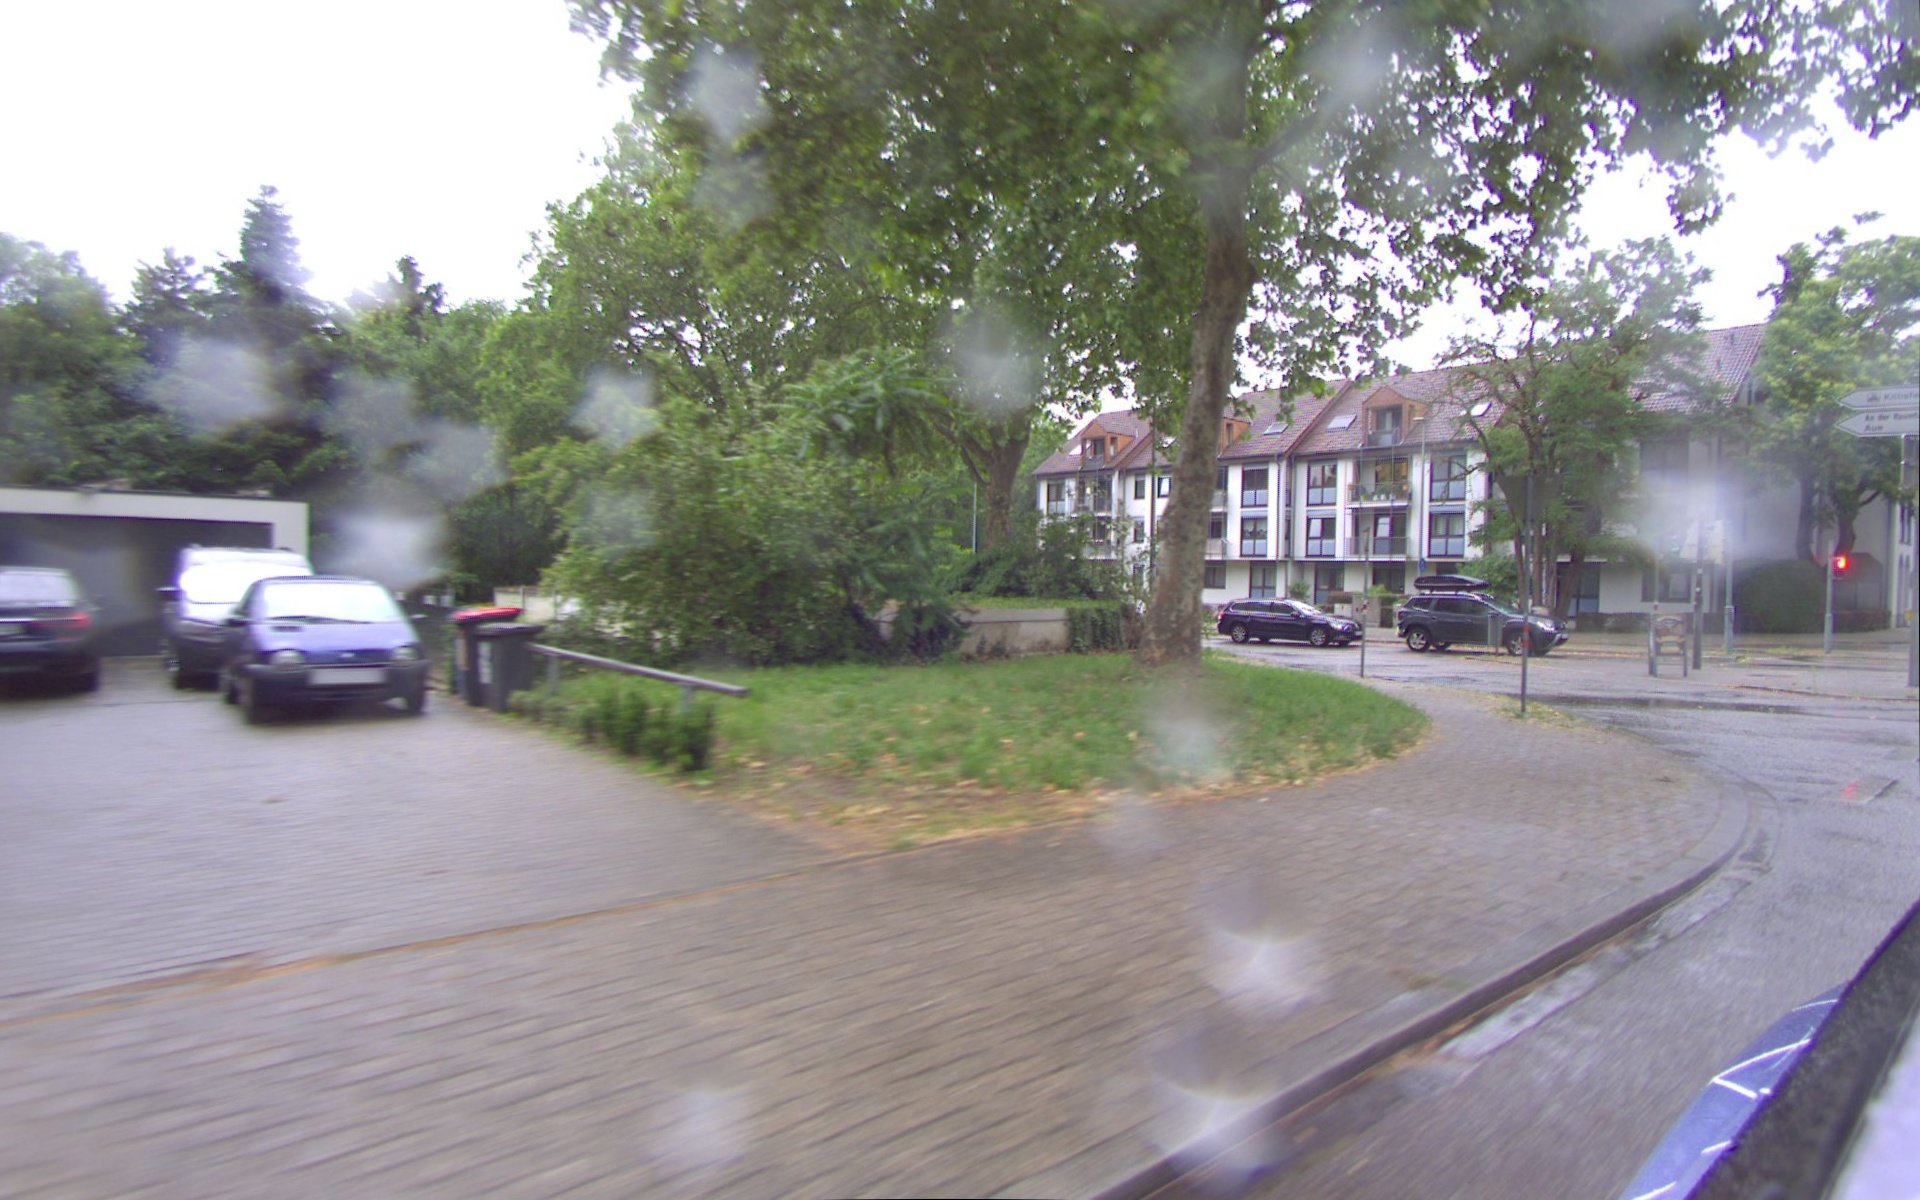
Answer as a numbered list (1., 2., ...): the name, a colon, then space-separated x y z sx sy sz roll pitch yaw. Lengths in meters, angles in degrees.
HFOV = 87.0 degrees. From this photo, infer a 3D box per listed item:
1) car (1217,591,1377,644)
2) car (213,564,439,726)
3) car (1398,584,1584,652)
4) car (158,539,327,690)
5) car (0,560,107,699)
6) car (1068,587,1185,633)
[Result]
1. car: 10.589 0.486 32.050 1.585 1.464 4.613 -4 3 -44
2. car: -6.931 0.370 10.924 1.645 1.464 3.338 -1 1 -40
3. car: 14.509 0.432 27.810 1.682 1.708 4.217 -1 1 -44
4. car: -10.290 0.085 14.383 1.645 1.817 4.353 0 2 -40
5. car: -11.747 0.299 12.485 1.815 1.529 3.521 0 1 -40
6. car: 6.150 0.329 37.730 1.639 1.564 4.163 -2 2 -43
